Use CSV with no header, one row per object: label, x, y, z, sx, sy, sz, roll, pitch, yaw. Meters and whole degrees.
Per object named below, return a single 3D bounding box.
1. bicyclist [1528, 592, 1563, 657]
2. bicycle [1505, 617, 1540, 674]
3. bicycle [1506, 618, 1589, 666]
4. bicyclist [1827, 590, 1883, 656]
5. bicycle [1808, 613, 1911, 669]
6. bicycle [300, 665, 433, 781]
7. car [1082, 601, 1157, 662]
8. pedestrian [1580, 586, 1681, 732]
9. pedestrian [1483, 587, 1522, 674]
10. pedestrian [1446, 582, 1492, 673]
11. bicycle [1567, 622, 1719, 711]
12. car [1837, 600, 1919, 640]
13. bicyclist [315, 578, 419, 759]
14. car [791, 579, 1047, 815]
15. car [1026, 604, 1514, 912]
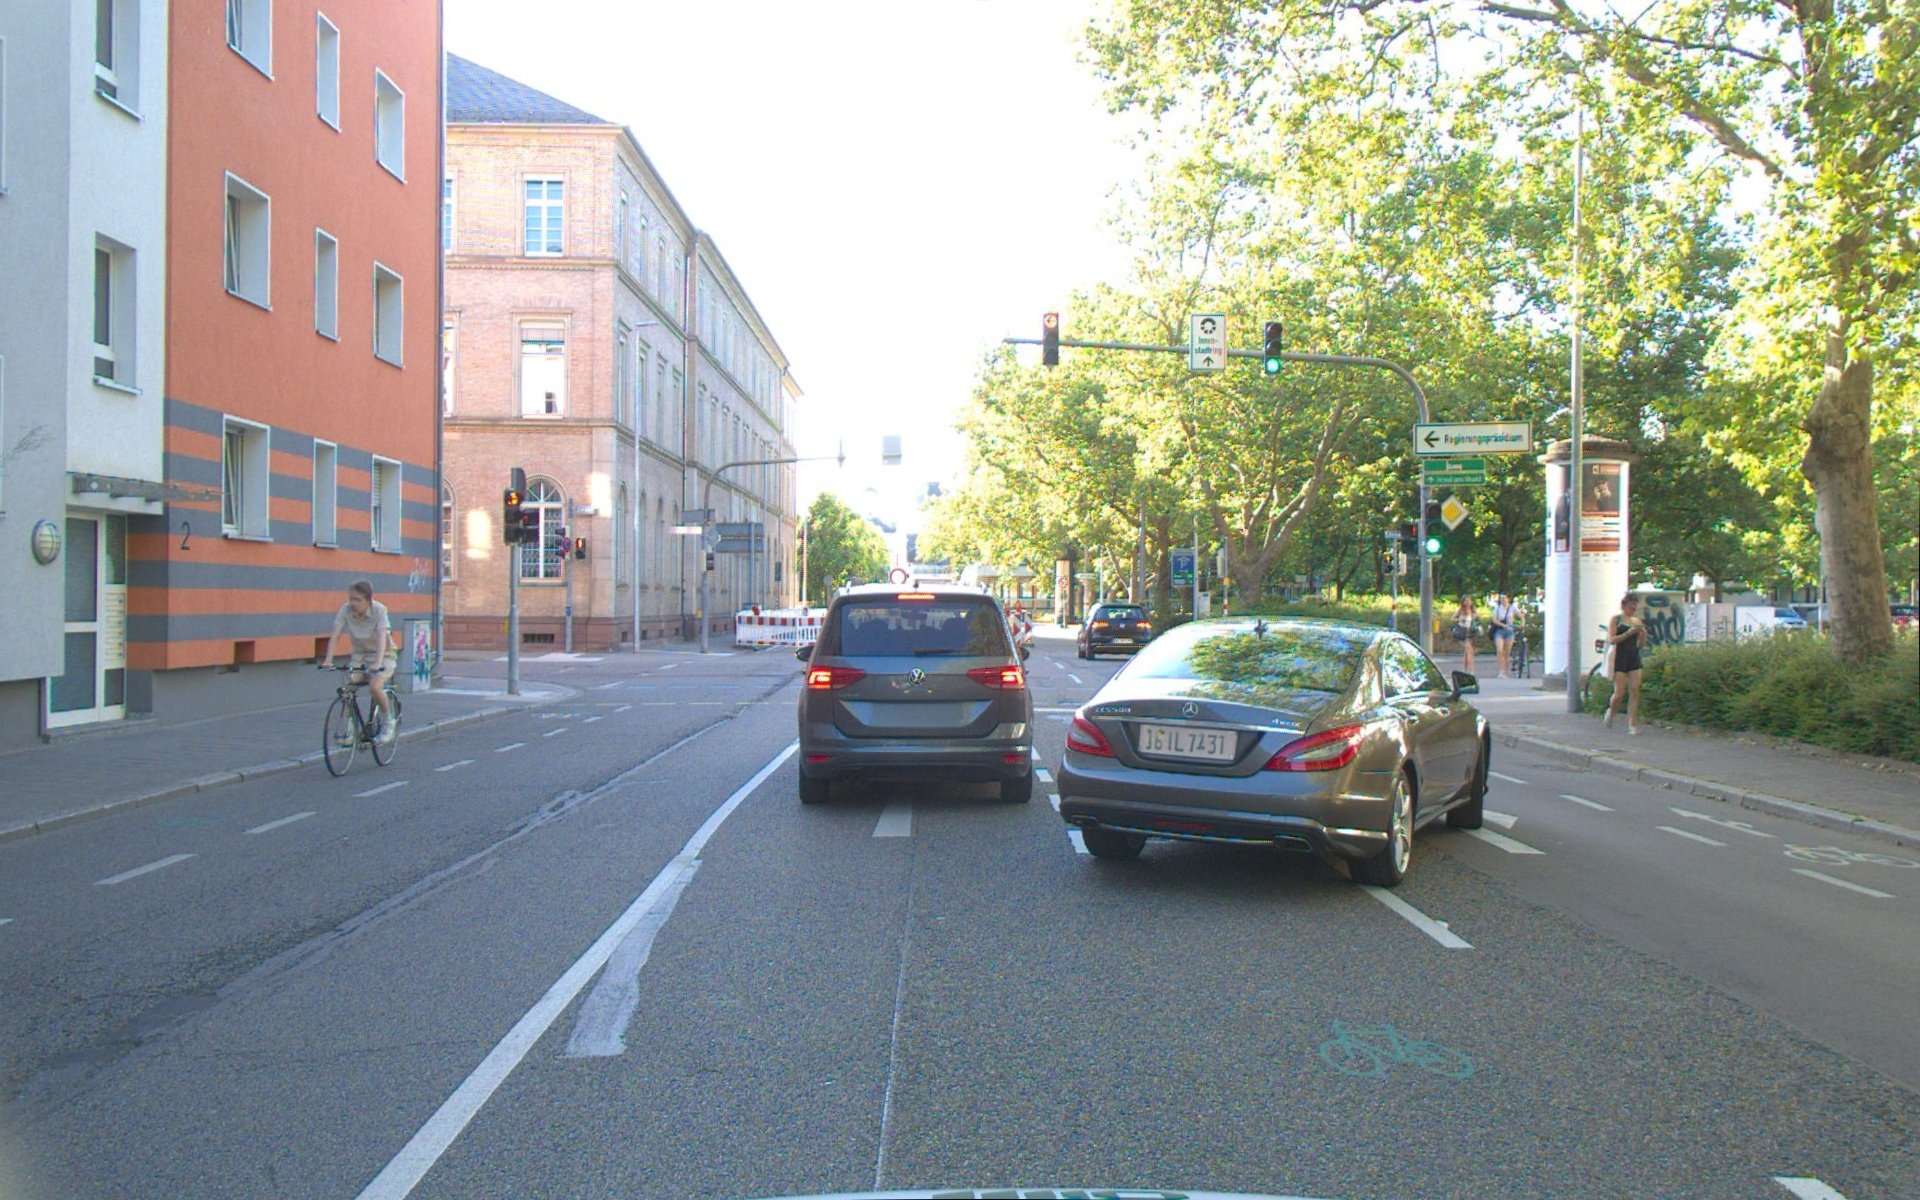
bicyclist,15.685,0.656,44.315,0.695,1.727,0.675,1,-1,-1
bicycle,11.470,0.918,33.743,0.513,1.119,1.742,1,0,14
bicycle,15.735,1.110,44.312,1.989,1.242,0.599,1,-1,-1
bicyclist,22.545,0.576,41.670,0.944,1.644,0.870,1,-1,1
bicycle,22.641,1.024,41.644,2.242,1.349,0.660,1,-1,0
bicycle,-5.322,1.081,14.940,0.537,0.906,1.867,1,0,-1
car,4.089,0.795,42.757,1.654,1.465,3.902,1,0,2
pedestrian,7.851,0.681,19.408,0.782,1.659,0.907,-1,-1,0
pedestrian,11.067,0.620,33.759,0.668,1.727,0.971,1,-1,14
pedestrian,10.419,0.564,33.893,0.716,1.840,0.910,-1,-1,6
bicycle,9.703,0.937,23.521,1.936,1.210,0.528,1,-1,-2
car,36.266,0.762,64.913,1.596,1.508,3.794,1,0,-2
bicyclist,-5.346,0.603,14.956,0.635,1.586,0.806,1,-1,-2
car,-0.258,0.684,13.480,1.772,1.641,4.000,0,0,1
car,2.181,0.787,10.381,1.807,1.454,4.512,1,0,27
